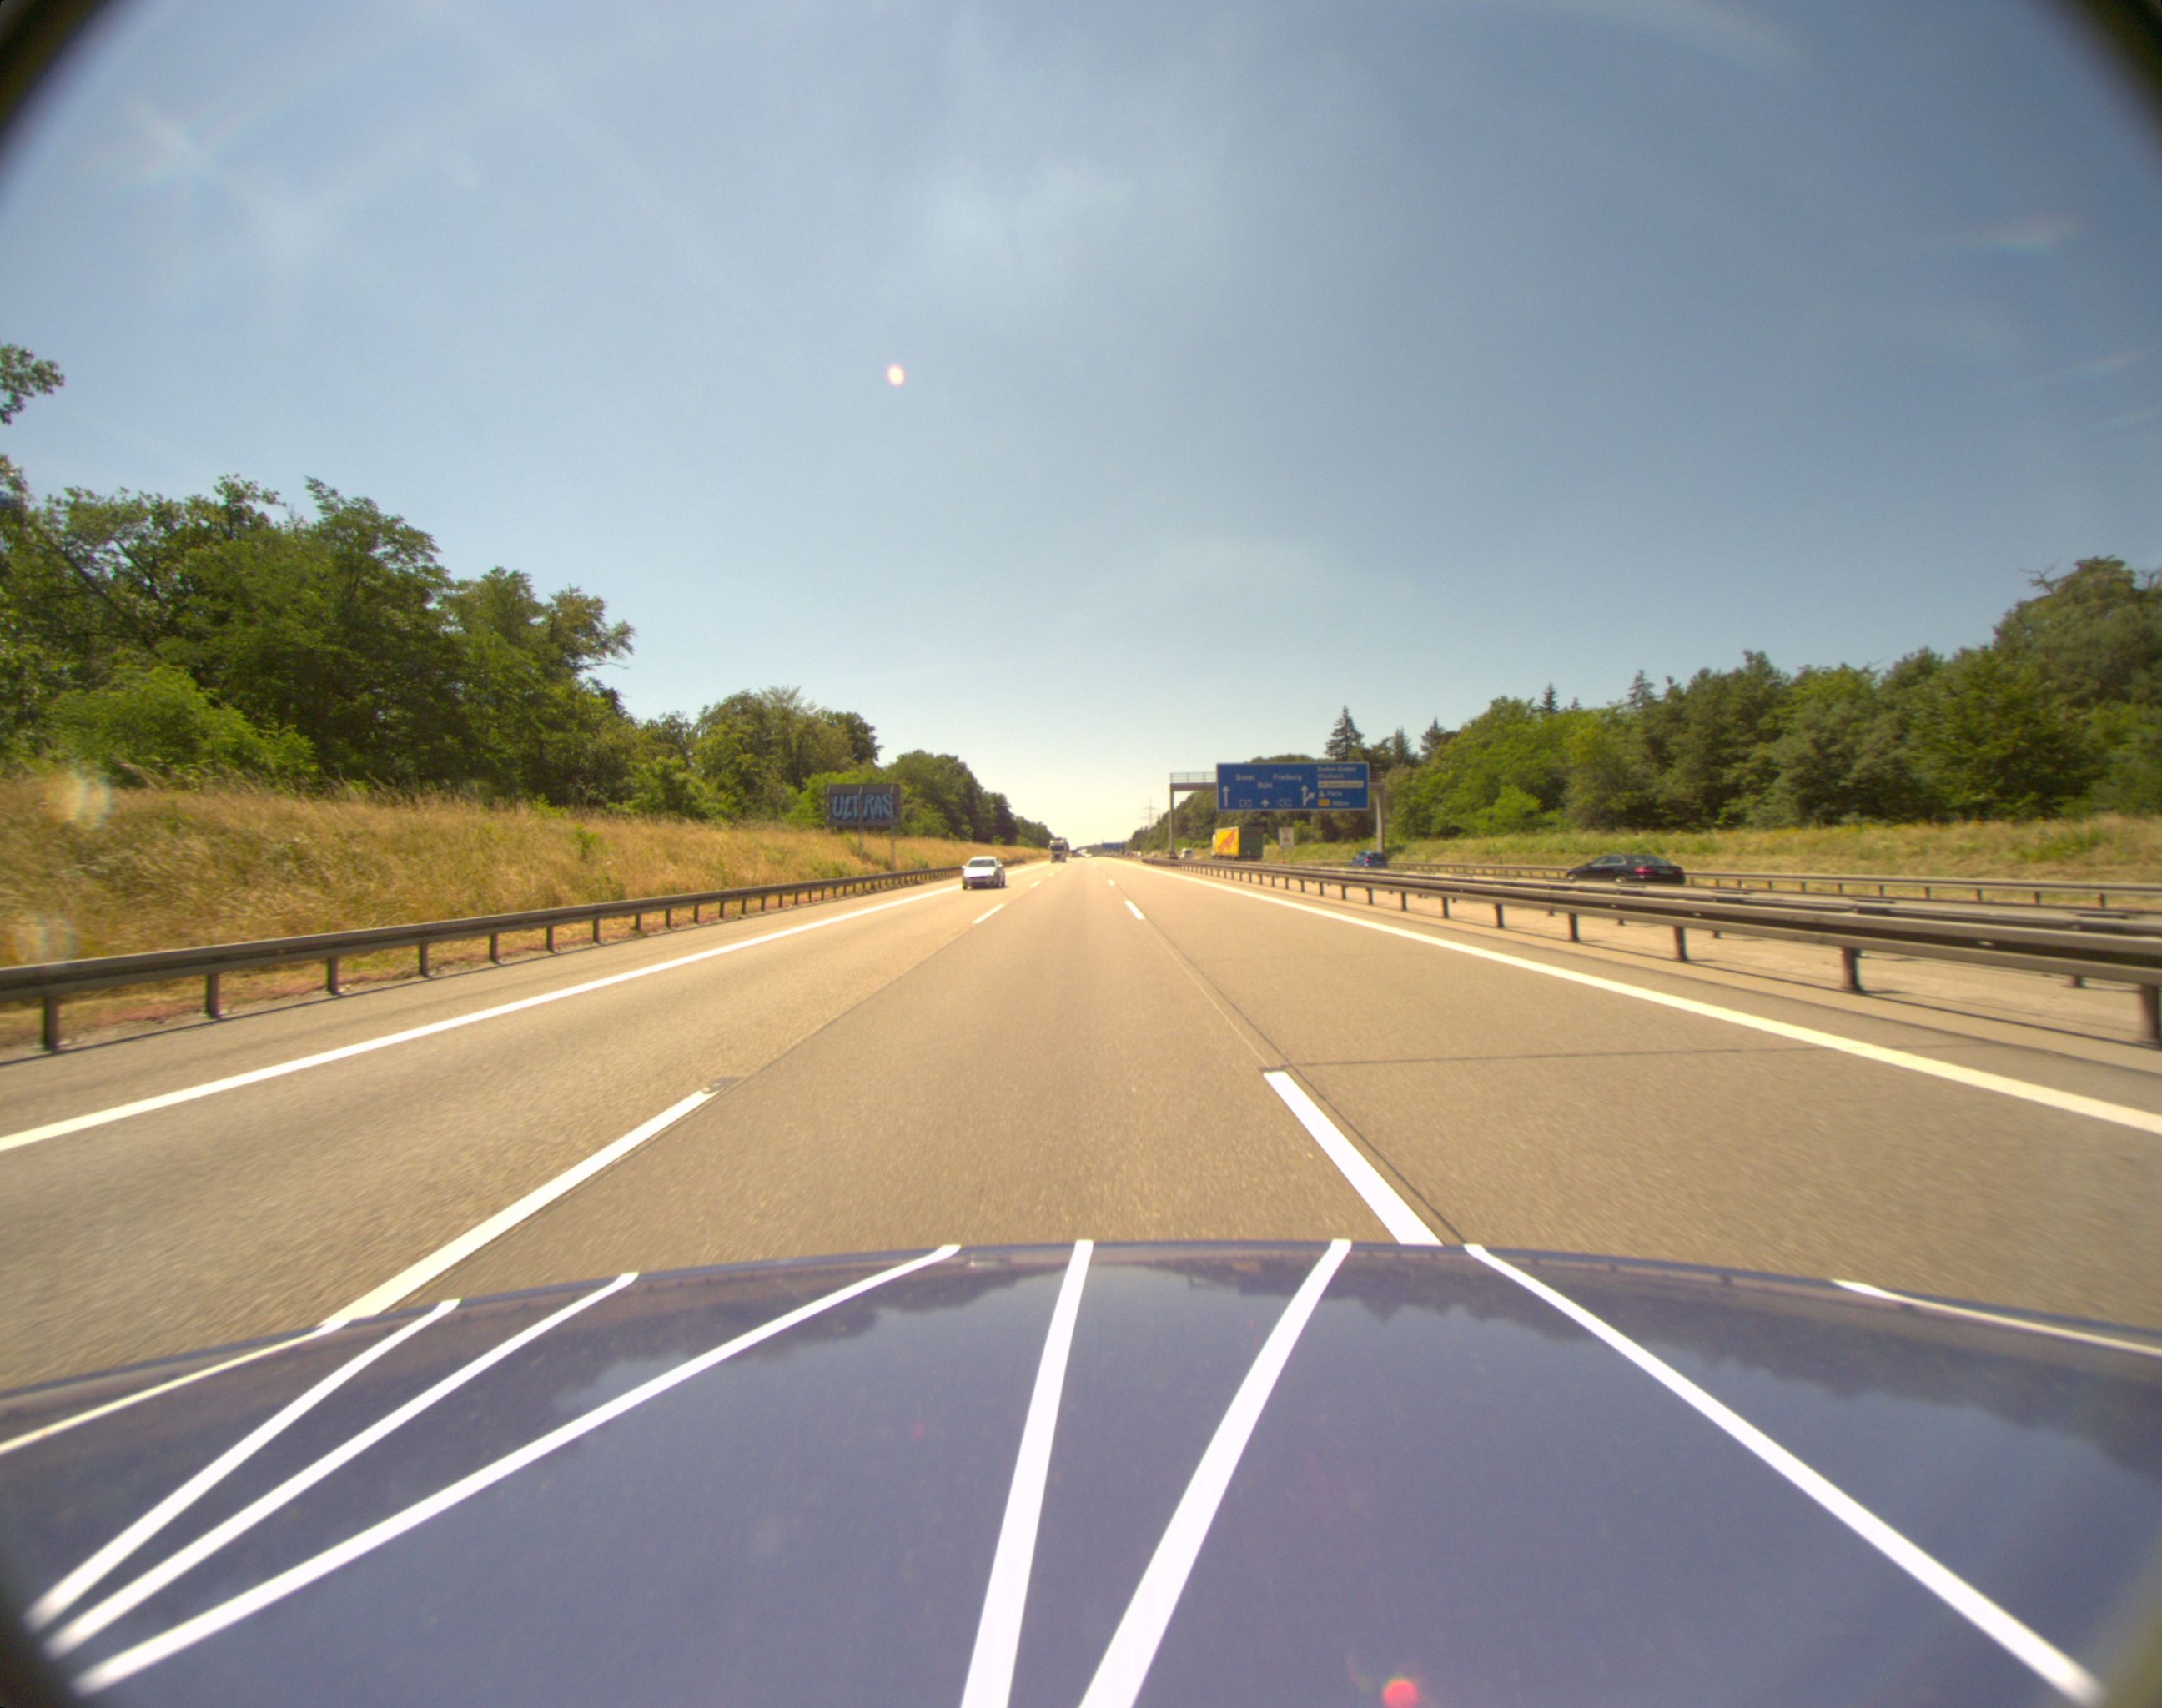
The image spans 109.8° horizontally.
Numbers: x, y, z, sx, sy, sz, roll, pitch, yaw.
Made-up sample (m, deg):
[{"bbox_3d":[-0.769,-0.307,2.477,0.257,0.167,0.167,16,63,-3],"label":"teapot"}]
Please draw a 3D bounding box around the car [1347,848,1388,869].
[{"bbox_3d":[21.515,0.316,57.230,1.527,1.531,4.110,1,1,0],"label":"car"}]

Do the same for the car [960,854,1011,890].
[{"bbox_3d":[-4.441,0.805,35.769,1.749,1.457,3.980,-2,1,1],"label":"car"}]

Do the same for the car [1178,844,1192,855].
[{"bbox_3d":[21.598,-0.975,158.046,1.993,2.327,5.809,1,1,-1],"label":"car"}]

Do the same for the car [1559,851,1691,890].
[{"bbox_3d":[21.226,0.581,29.953,1.679,1.358,4.889,1,0,0],"label":"car"}]

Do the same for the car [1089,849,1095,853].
[{"bbox_3d":[3.433,-0.986,243.639,1.796,1.412,3.999,-3,1,-1],"label":"car"}]

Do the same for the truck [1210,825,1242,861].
[{"bbox_3d":[17.214,-1.253,90.553,2.470,4.049,6.286,1,1,0],"label":"truck"}]

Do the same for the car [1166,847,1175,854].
[{"bbox_3d":[22.824,-0.925,193.488,1.650,1.581,4.611,1,0,0],"label":"car"}]

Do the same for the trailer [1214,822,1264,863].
[{"bbox_3d":[17.176,-1.203,83.527,2.470,4.049,14.277,1,0,0],"label":"trailer"}]

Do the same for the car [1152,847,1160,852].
[{"bbox_3d":[22.863,-1.414,232.210,1.799,1.508,4.903,1,0,0],"label":"car"}]

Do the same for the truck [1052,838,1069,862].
[{"bbox_3d":[-3.462,-0.687,130.235,2.605,3.811,5.969,-3,0,0],"label":"truck"}]

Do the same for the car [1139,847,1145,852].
[{"bbox_3d":[18.776,-1.275,234.177,1.651,1.490,4.560,1,1,0],"label":"car"}]
